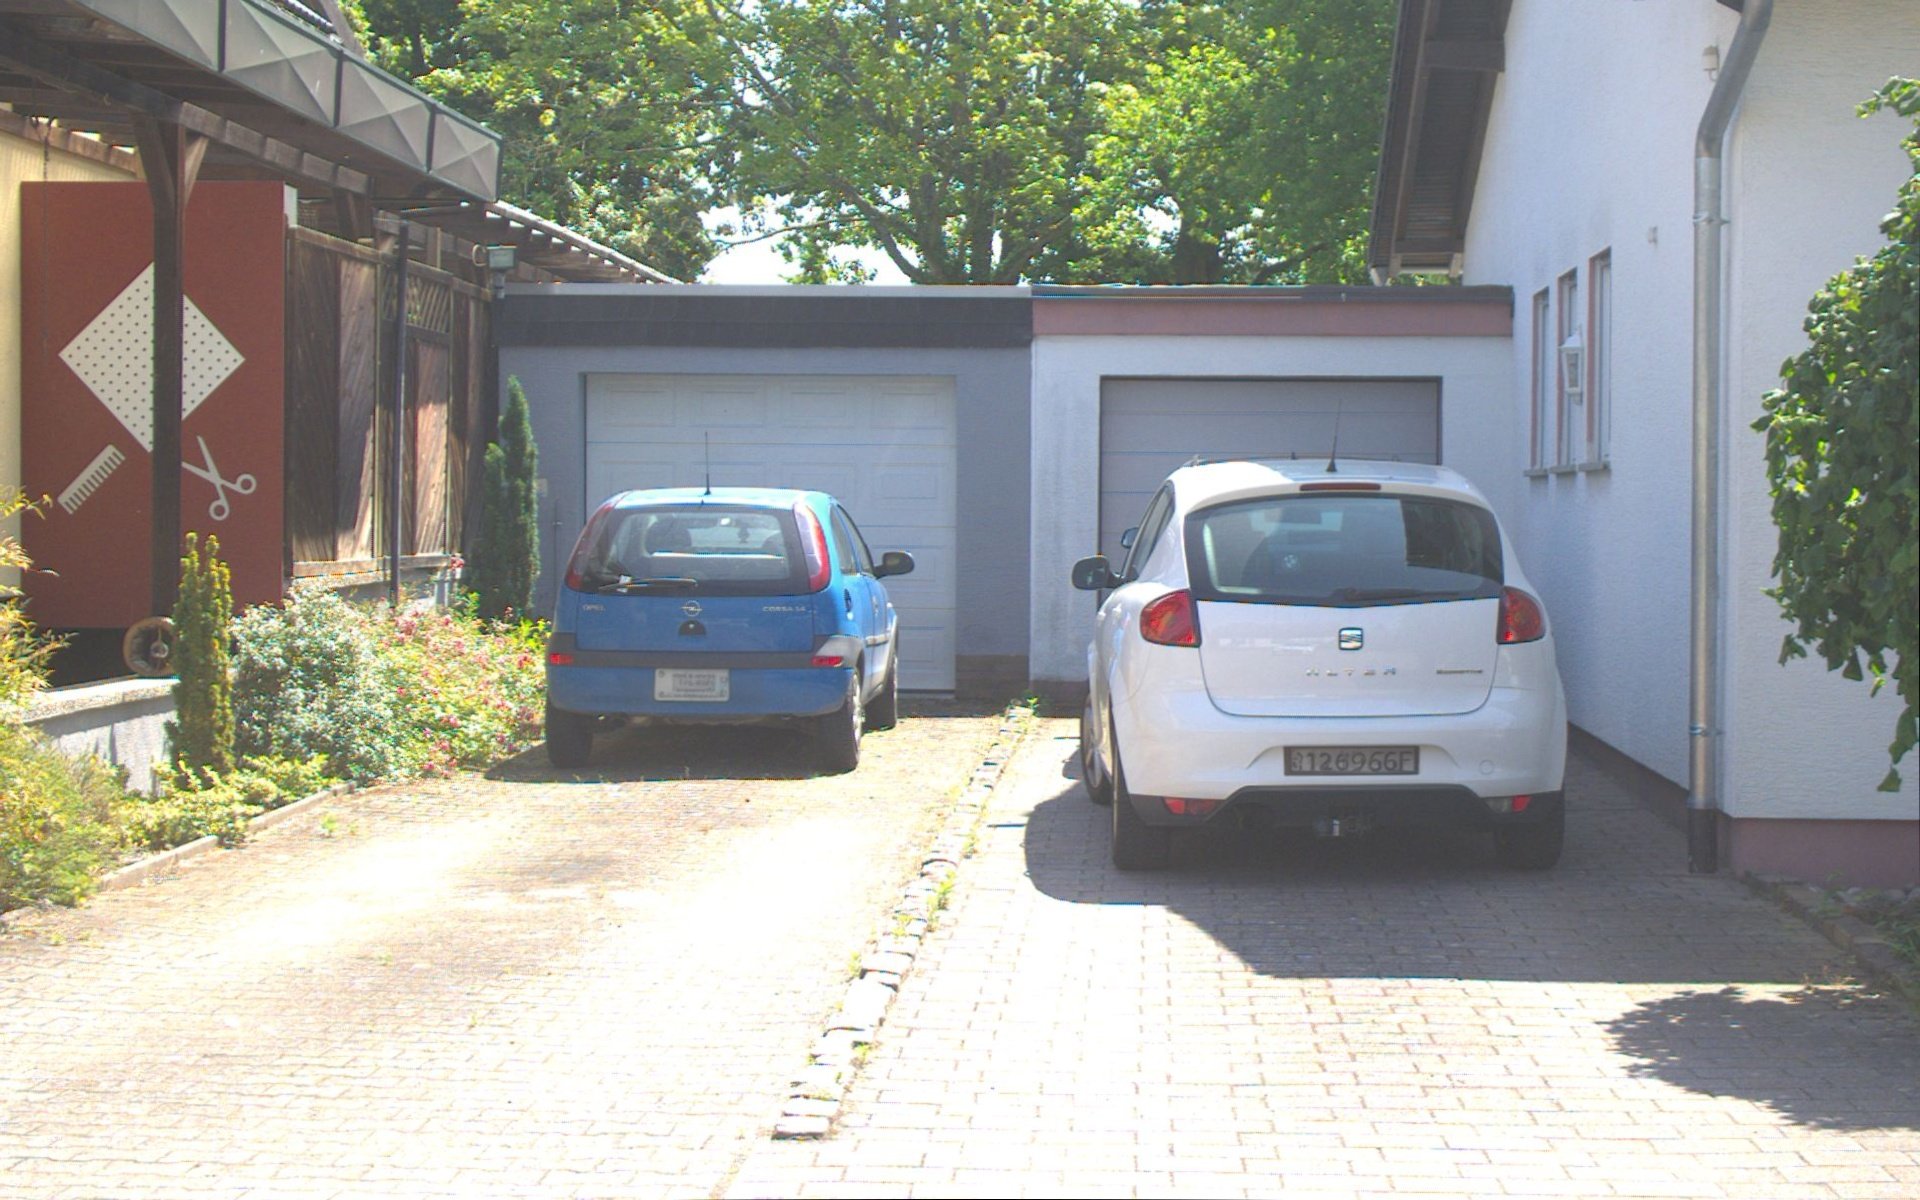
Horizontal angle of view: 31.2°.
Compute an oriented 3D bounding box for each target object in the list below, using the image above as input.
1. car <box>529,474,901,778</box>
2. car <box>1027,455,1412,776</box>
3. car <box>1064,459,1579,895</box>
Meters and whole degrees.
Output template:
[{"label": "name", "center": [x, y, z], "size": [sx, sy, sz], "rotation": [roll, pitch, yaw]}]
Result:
[{"label": "car", "center": [-1.265, 0.069, 18.904], "size": [1.615, 1.450, 3.254], "rotation": [1, 3, 3]}, {"label": "car", "center": [1.437, -0.005, 19.257], "size": [1.923, 1.602, 4.000], "rotation": [0, 2, 4]}, {"label": "car", "center": [1.364, 0.207, 14.407], "size": [1.746, 1.563, 4.000], "rotation": [0, 2, 0]}]
